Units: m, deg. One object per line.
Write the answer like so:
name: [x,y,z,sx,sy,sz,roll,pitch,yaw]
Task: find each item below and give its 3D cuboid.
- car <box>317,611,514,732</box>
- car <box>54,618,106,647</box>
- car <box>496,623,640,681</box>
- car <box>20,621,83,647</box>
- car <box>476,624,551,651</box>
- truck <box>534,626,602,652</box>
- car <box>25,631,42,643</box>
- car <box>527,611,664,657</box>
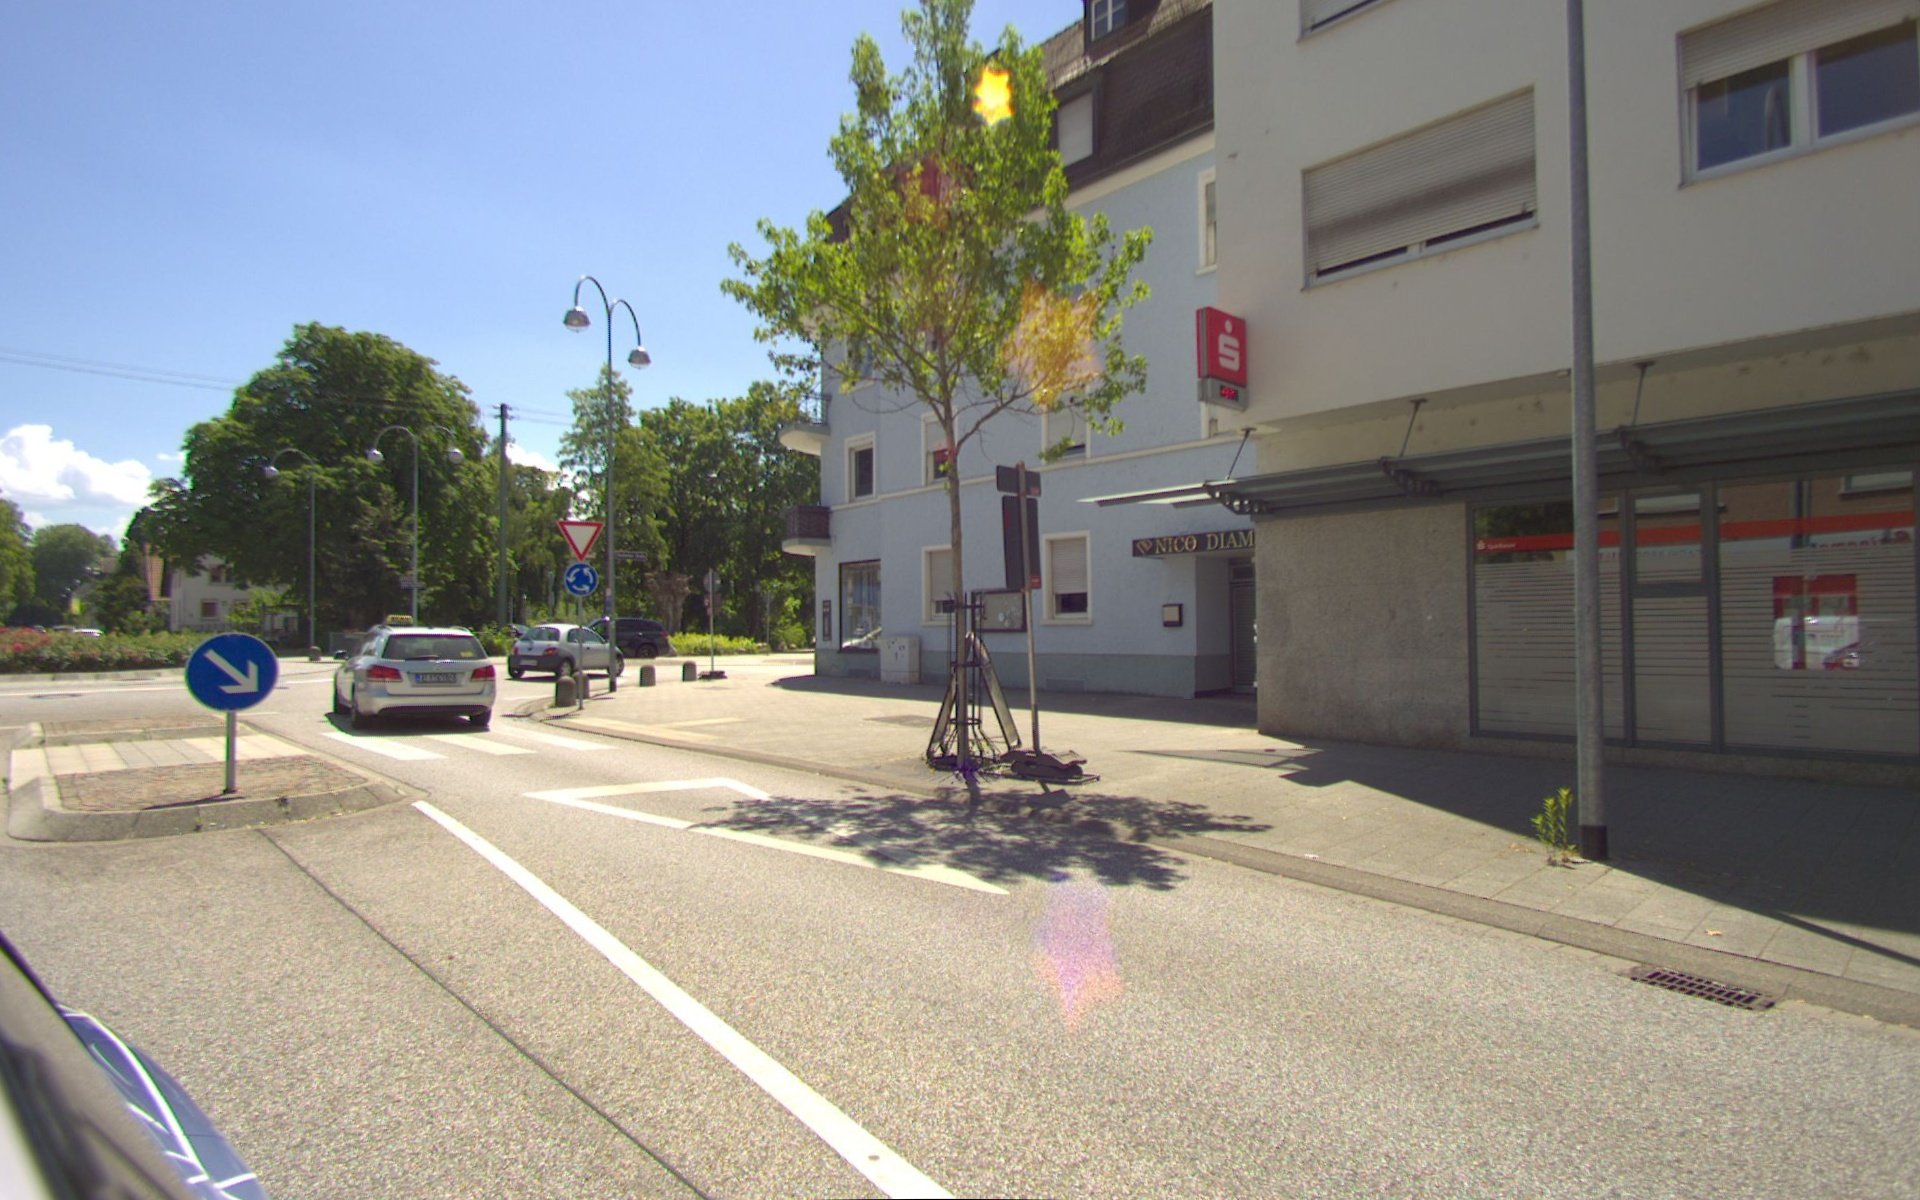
car: [-8.755,1.058,16.021,1.967,1.605,5.009,2,-3,-37]
car: [-46.795,1.733,53.875,1.902,1.392,4.296,-2,-1,-39]
car: [-10.499,1.386,27.401,1.690,1.469,3.769,0,-2,16]
car: [-58.862,2.213,65.544,4.155,1.574,1.977,-1,-6,34]
car: [-27.310,2.266,61.968,3.965,1.614,1.832,-1,-2,17]
truck: [-39.358,3.942,101.761,6.116,2.462,2.269,0,-4,-11]
car: [-151.090,6.041,165.019,4.001,1.719,1.715,-5,-4,44]
car: [-13.466,1.280,37.418,4.539,1.597,1.954,1,-5,-28]
